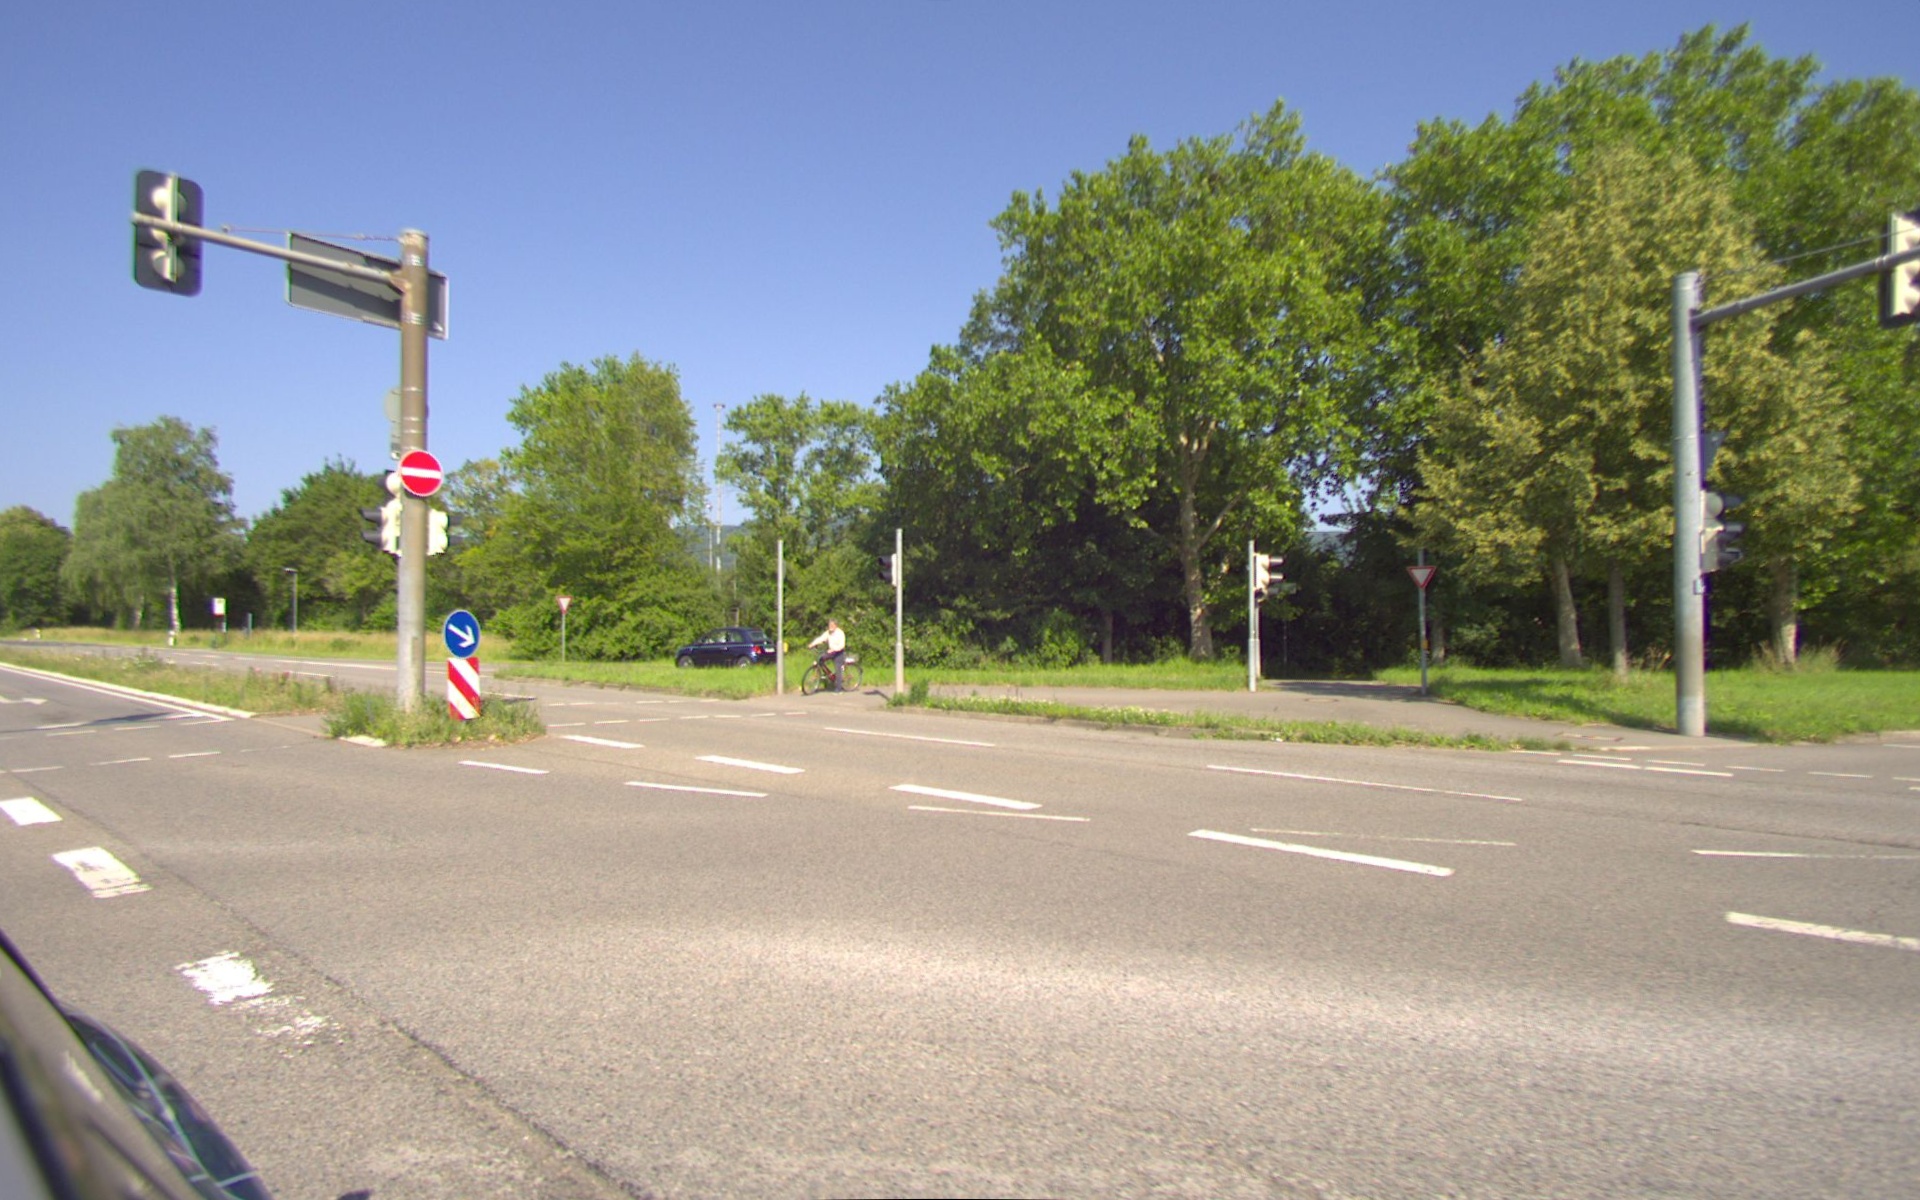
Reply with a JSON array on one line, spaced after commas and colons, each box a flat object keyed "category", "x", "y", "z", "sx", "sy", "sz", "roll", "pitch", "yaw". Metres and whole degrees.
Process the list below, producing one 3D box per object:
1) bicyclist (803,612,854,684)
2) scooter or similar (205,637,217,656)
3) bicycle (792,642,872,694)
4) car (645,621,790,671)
[{"category": "bicyclist", "x": -2.914, "y": 1.049, "z": 22.440, "sx": 0.837, "sy": 1.529, "sz": 0.748, "roll": 0, "pitch": -1, "yaw": -44}, {"category": "scooter or similar", "x": -50.460, "y": 3.133, "z": 68.161, "sx": 1.340, "sy": 1.195, "sz": 0.364, "roll": -1, "pitch": -3, "yaw": 41}, {"category": "bicycle", "x": -2.837, "y": 1.490, "z": 22.524, "sx": 1.656, "sy": 1.049, "sz": 0.748, "roll": 0, "pitch": -1, "yaw": -44}, {"category": "car", "x": -7.904, "y": 1.476, "z": 33.031, "sx": 4.255, "sy": 1.507, "sz": 1.985, "roll": 0, "pitch": -2, "yaw": 22}]
